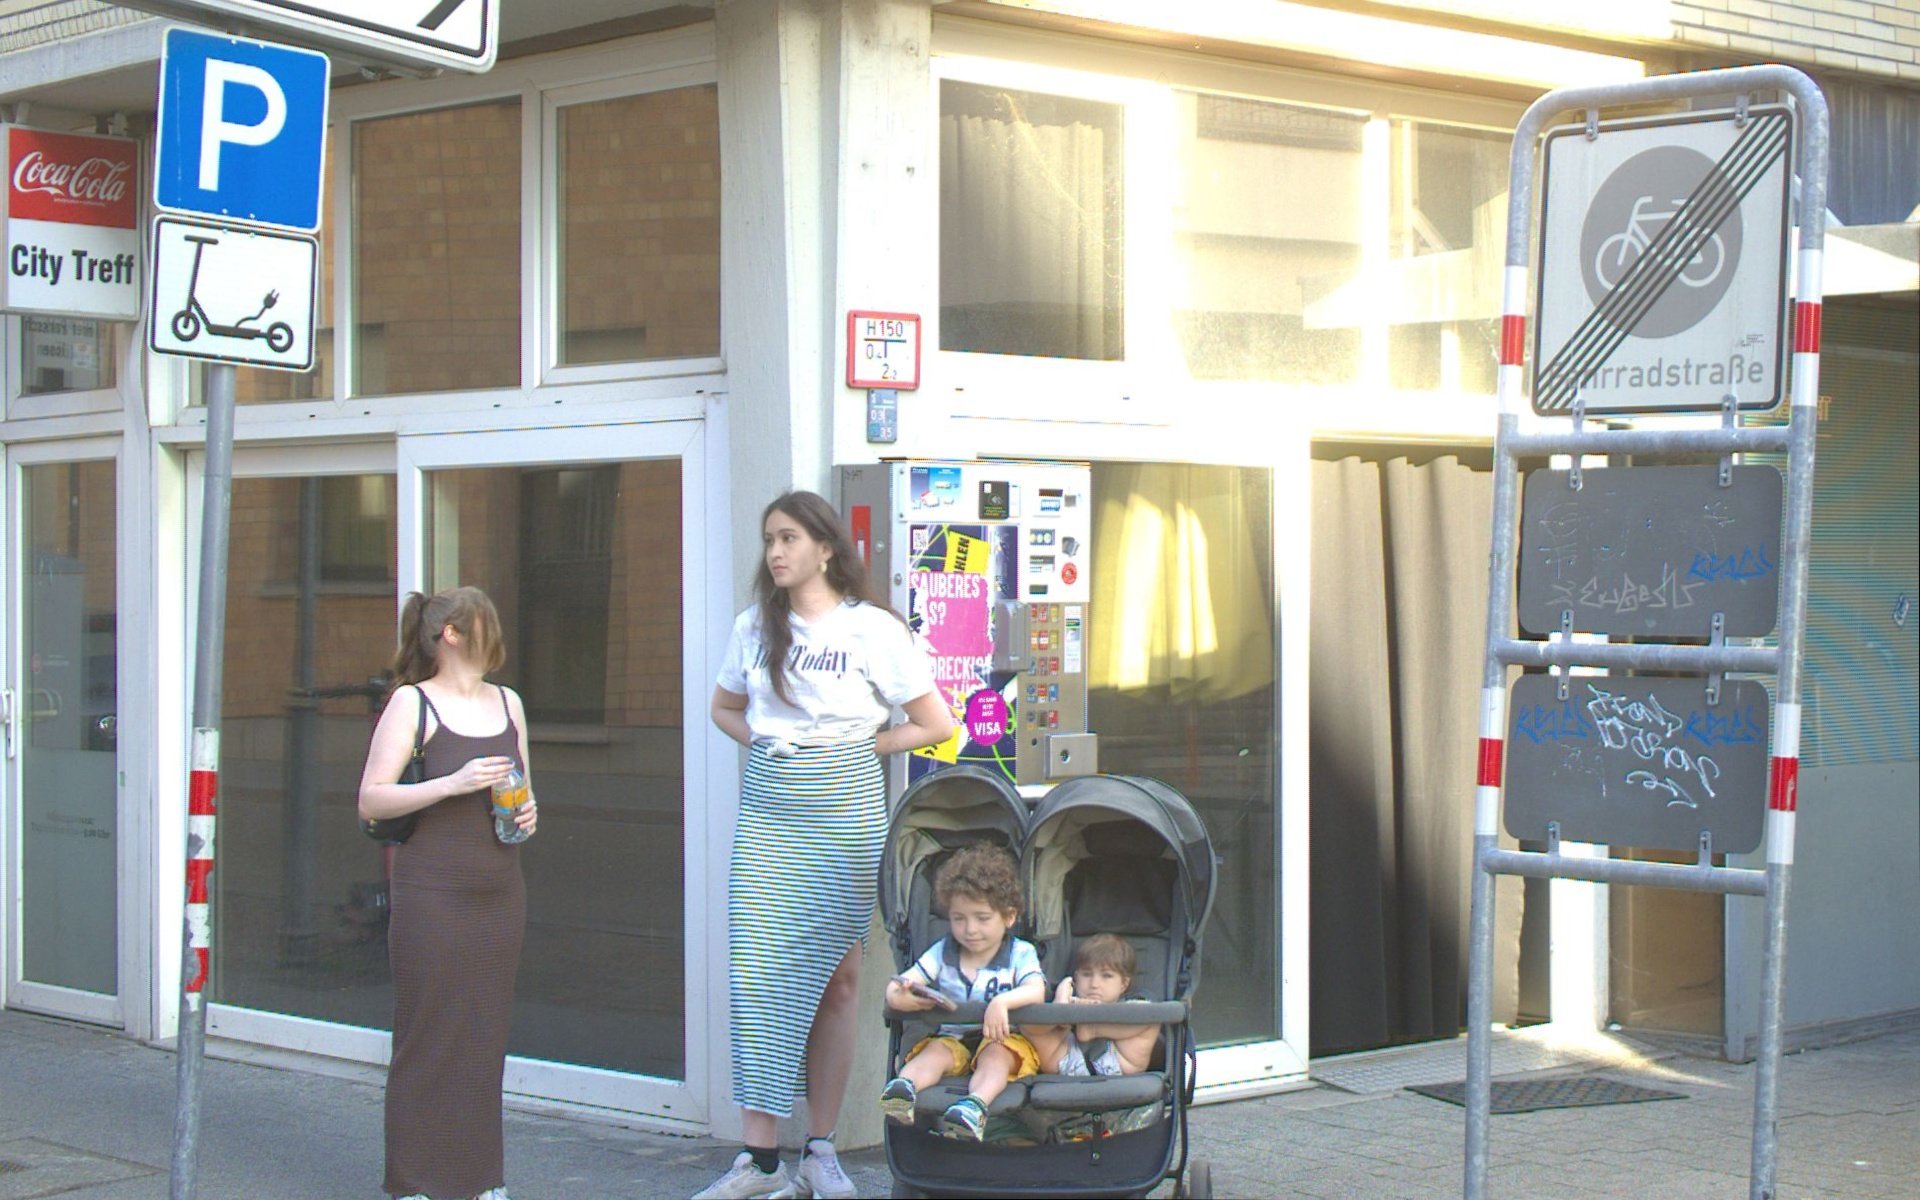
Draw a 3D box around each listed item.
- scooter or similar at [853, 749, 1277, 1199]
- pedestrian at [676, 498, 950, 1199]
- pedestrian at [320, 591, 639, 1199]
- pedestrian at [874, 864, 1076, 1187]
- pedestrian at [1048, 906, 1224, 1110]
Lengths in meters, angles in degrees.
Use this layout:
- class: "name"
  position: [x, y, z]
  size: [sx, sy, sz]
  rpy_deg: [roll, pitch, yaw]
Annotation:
- class: "scooter or similar"
  position: [0.217, 0.961, 7.612]
  size: [0.868, 1.172, 1.045]
  rpy_deg: [0, 2, 0]
- class: "pedestrian"
  position: [-0.352, 0.623, 8.508]
  size: [0.625, 1.730, 0.622]
  rpy_deg: [0, 0, 2]
- class: "pedestrian"
  position: [-1.137, 0.761, 8.150]
  size: [0.572, 1.535, 0.441]
  rpy_deg: [-3, 2, -34]
- class: "pedestrian"
  position: [0.038, 0.918, 7.519]
  size: [0.331, 0.631, 0.509]
  rpy_deg: [0, 0, 13]
- class: "pedestrian"
  position: [0.387, 0.886, 7.509]
  size: [0.331, 0.397, 0.312]
  rpy_deg: [0, 0, 14]
